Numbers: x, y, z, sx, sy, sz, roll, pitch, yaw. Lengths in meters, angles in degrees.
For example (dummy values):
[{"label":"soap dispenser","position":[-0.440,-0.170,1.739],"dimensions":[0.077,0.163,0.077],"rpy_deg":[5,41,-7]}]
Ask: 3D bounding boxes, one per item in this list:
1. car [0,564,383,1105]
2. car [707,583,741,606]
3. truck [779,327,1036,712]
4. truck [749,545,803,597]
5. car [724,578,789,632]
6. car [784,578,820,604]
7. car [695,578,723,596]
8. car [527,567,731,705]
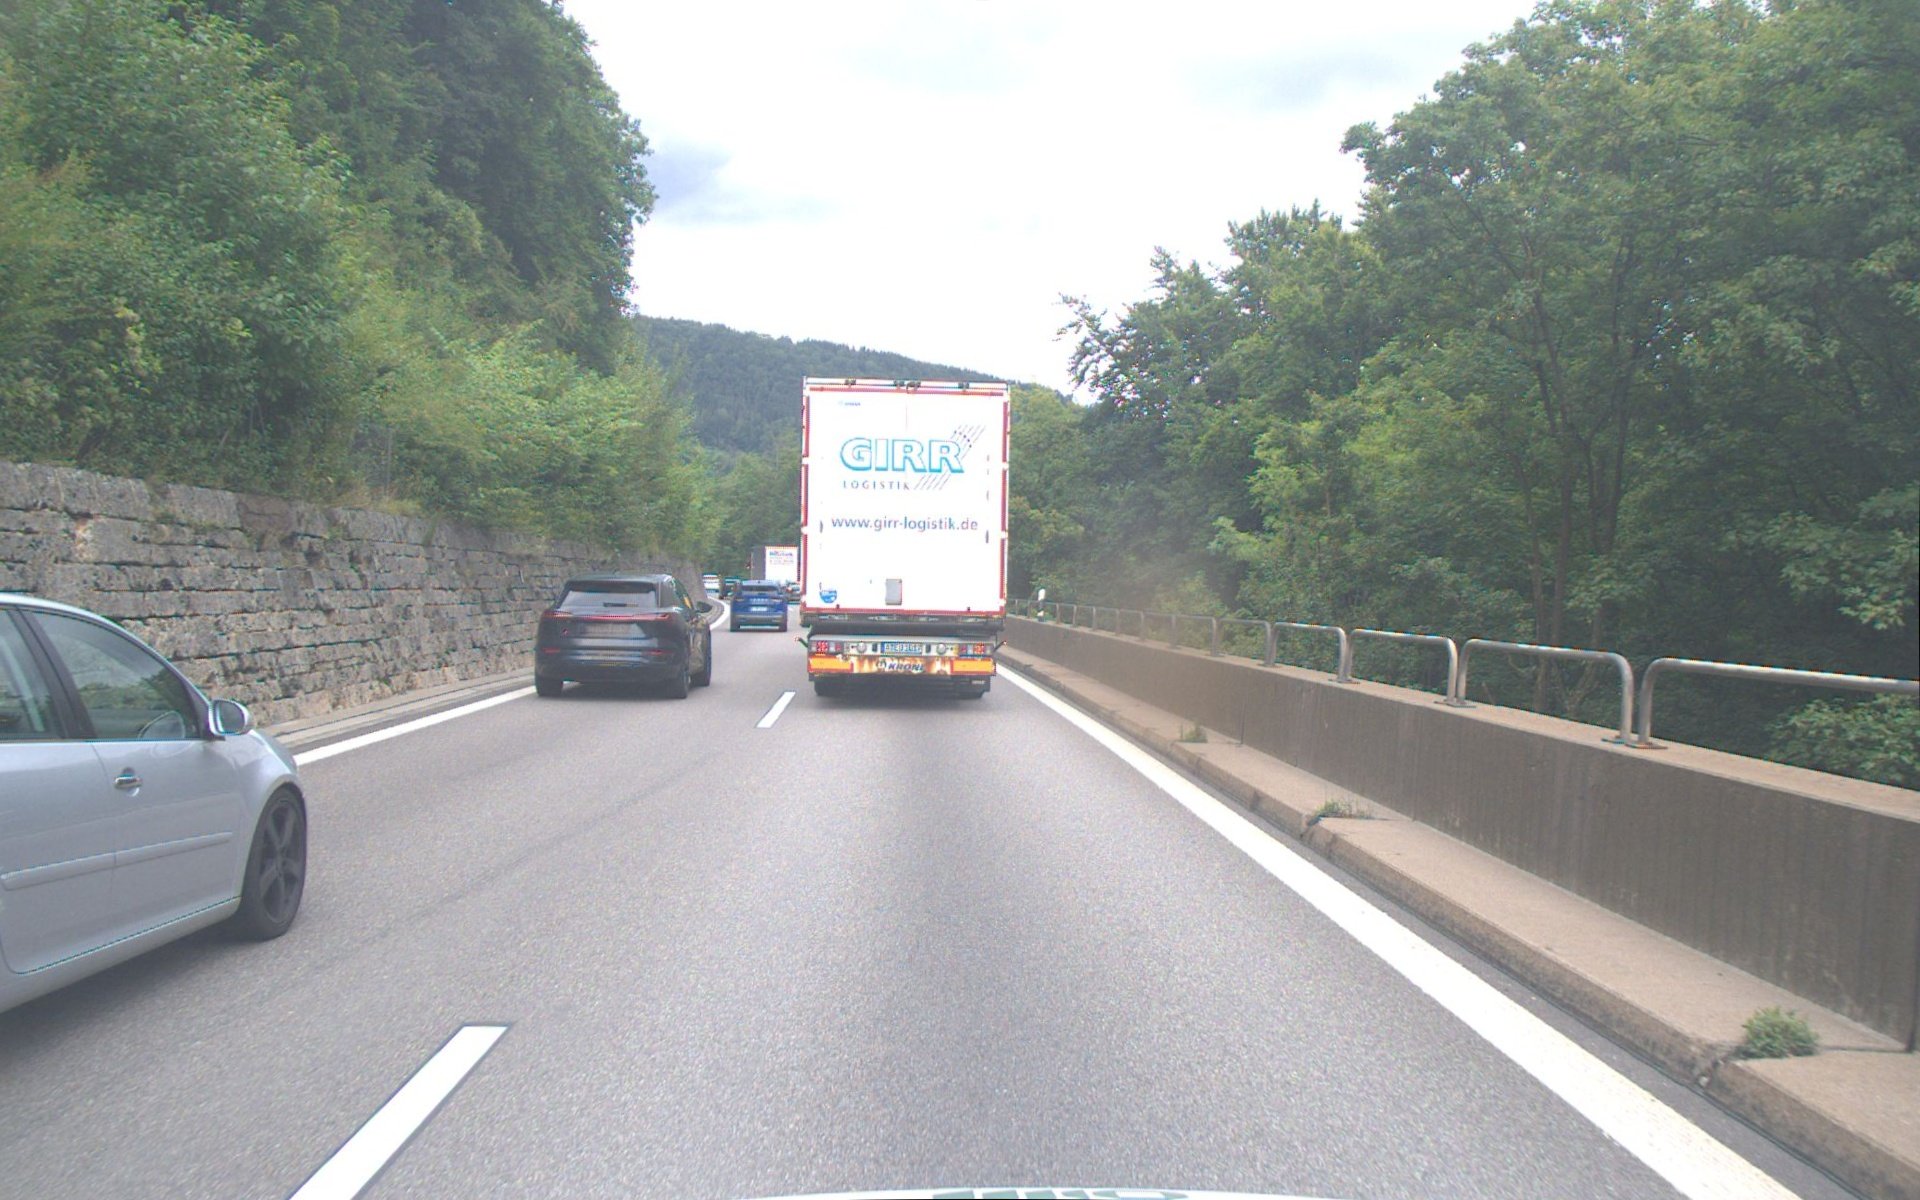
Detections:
[{"label":"car","position":[-3.565,0.660,5.623],"dimensions":[1.647,1.541,4.582],"rpy_deg":[1,0,-1]},{"label":"car","position":[-17.299,-0.410,121.128],"dimensions":[1.961,1.624,4.335],"rpy_deg":[-1,1,-16]},{"label":"truck","position":[-0.965,-0.989,27.237],"dimensions":[3.023,4.542,15.147],"rpy_deg":[0,0,-3]},{"label":"truck","position":[-14.498,-2.199,129.669],"dimensions":[2.589,3.925,12.314],"rpy_deg":[0,0,-14]},{"label":"car","position":[-6.657,0.119,53.685],"dimensions":[1.956,1.660,4.999],"rpy_deg":[0,1,-9]},{"label":"car","position":[-10.314,-0.578,107.737],"dimensions":[2.023,1.683,3.990],"rpy_deg":[0,0,-11]},{"label":"car","position":[-23.439,-1.194,154.310],"dimensions":[1.868,1.577,4.227],"rpy_deg":[2,0,-18]},{"label":"car","position":[-4.420,0.436,22.849],"dimensions":[1.953,1.660,5.006],"rpy_deg":[1,0,-2]}]
